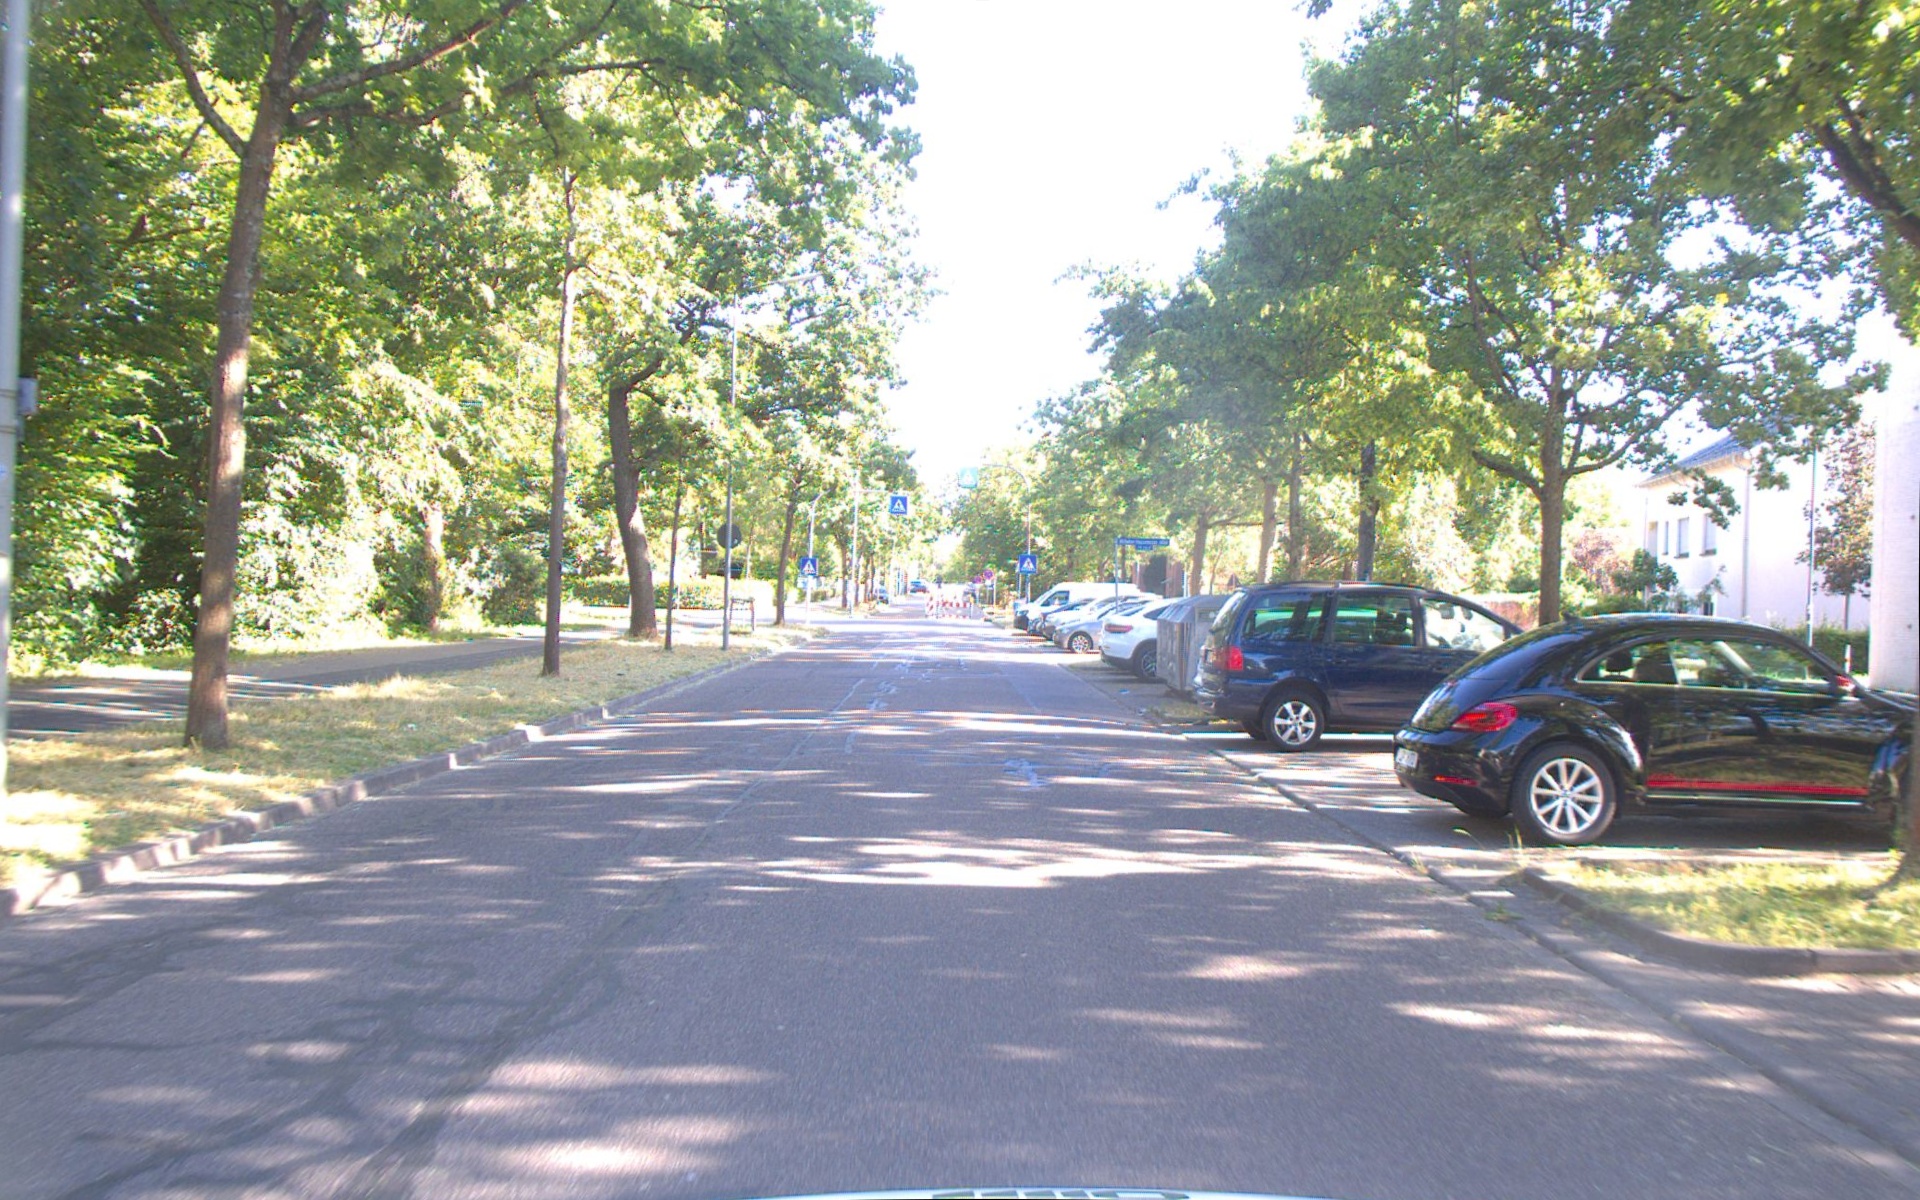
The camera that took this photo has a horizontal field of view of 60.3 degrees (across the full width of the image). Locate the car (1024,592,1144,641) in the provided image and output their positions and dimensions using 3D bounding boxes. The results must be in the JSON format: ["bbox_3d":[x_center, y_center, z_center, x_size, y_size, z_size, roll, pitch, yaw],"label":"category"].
[{"bbox_3d":[4.495,0.588,60.438,4.128,1.596,1.933,2,0,-2],"label":"car"}]

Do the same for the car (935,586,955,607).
[{"bbox_3d":[-1.561,-0.357,171.813,1.953,2.003,3.999,2,0,-1],"label":"car"}]

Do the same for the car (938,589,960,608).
[{"bbox_3d":[-1.067,-0.172,158.001,1.953,1.746,3.999,2,0,-1],"label":"car"}]

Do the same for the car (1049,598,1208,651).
[{"bbox_3d":[4.809,0.704,47.636,4.354,1.414,1.911,1,0,-1],"label":"car"}]

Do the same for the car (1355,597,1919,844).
[{"bbox_3d":[5.087,0.770,11.584,4.158,1.545,2.078,1,0,1],"label":"car"}]

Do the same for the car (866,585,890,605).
[{"bbox_3d":[-7.332,-0.460,148.287,1.953,1.746,3.999,2,0,-1],"label":"car"}]

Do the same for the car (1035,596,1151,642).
[{"bbox_3d":[4.598,0.665,57.774,3.905,1.458,1.901,2,0,1],"label":"car"}]

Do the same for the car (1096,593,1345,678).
[{"bbox_3d":[5.016,0.667,32.352,4.575,1.608,1.917,0,0,0],"label":"car"}]

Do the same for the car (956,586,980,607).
[{"bbox_3d":[0.679,-0.304,142.270,1.953,1.746,3.999,2,0,-1],"label":"car"}]

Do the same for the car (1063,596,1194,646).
[{"bbox_3d":[5.127,0.626,50.588,3.806,1.523,1.777,0,0,-1],"label":"car"}]

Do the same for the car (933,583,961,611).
[{"bbox_3d":[-0.958,-0.231,121.084,1.953,1.966,3.999,2,0,-1],"label":"car"}]

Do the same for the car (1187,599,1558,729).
[{"bbox_3d":[4.974,0.754,20.364,4.134,1.497,1.800,0,0,1],"label":"car"}]

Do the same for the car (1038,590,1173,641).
[{"bbox_3d":[4.823,0.493,55.242,4.296,1.680,1.850,0,0,-3],"label":"car"}]

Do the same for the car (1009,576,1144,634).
[{"bbox_3d":[4.580,0.194,65.550,5.083,2.142,2.082,1,0,-2],"label":"car"}]

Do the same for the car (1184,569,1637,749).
[{"bbox_3d":[4.815,0.616,18.152,4.437,1.832,1.936,1,0,-1],"label":"car"}]
